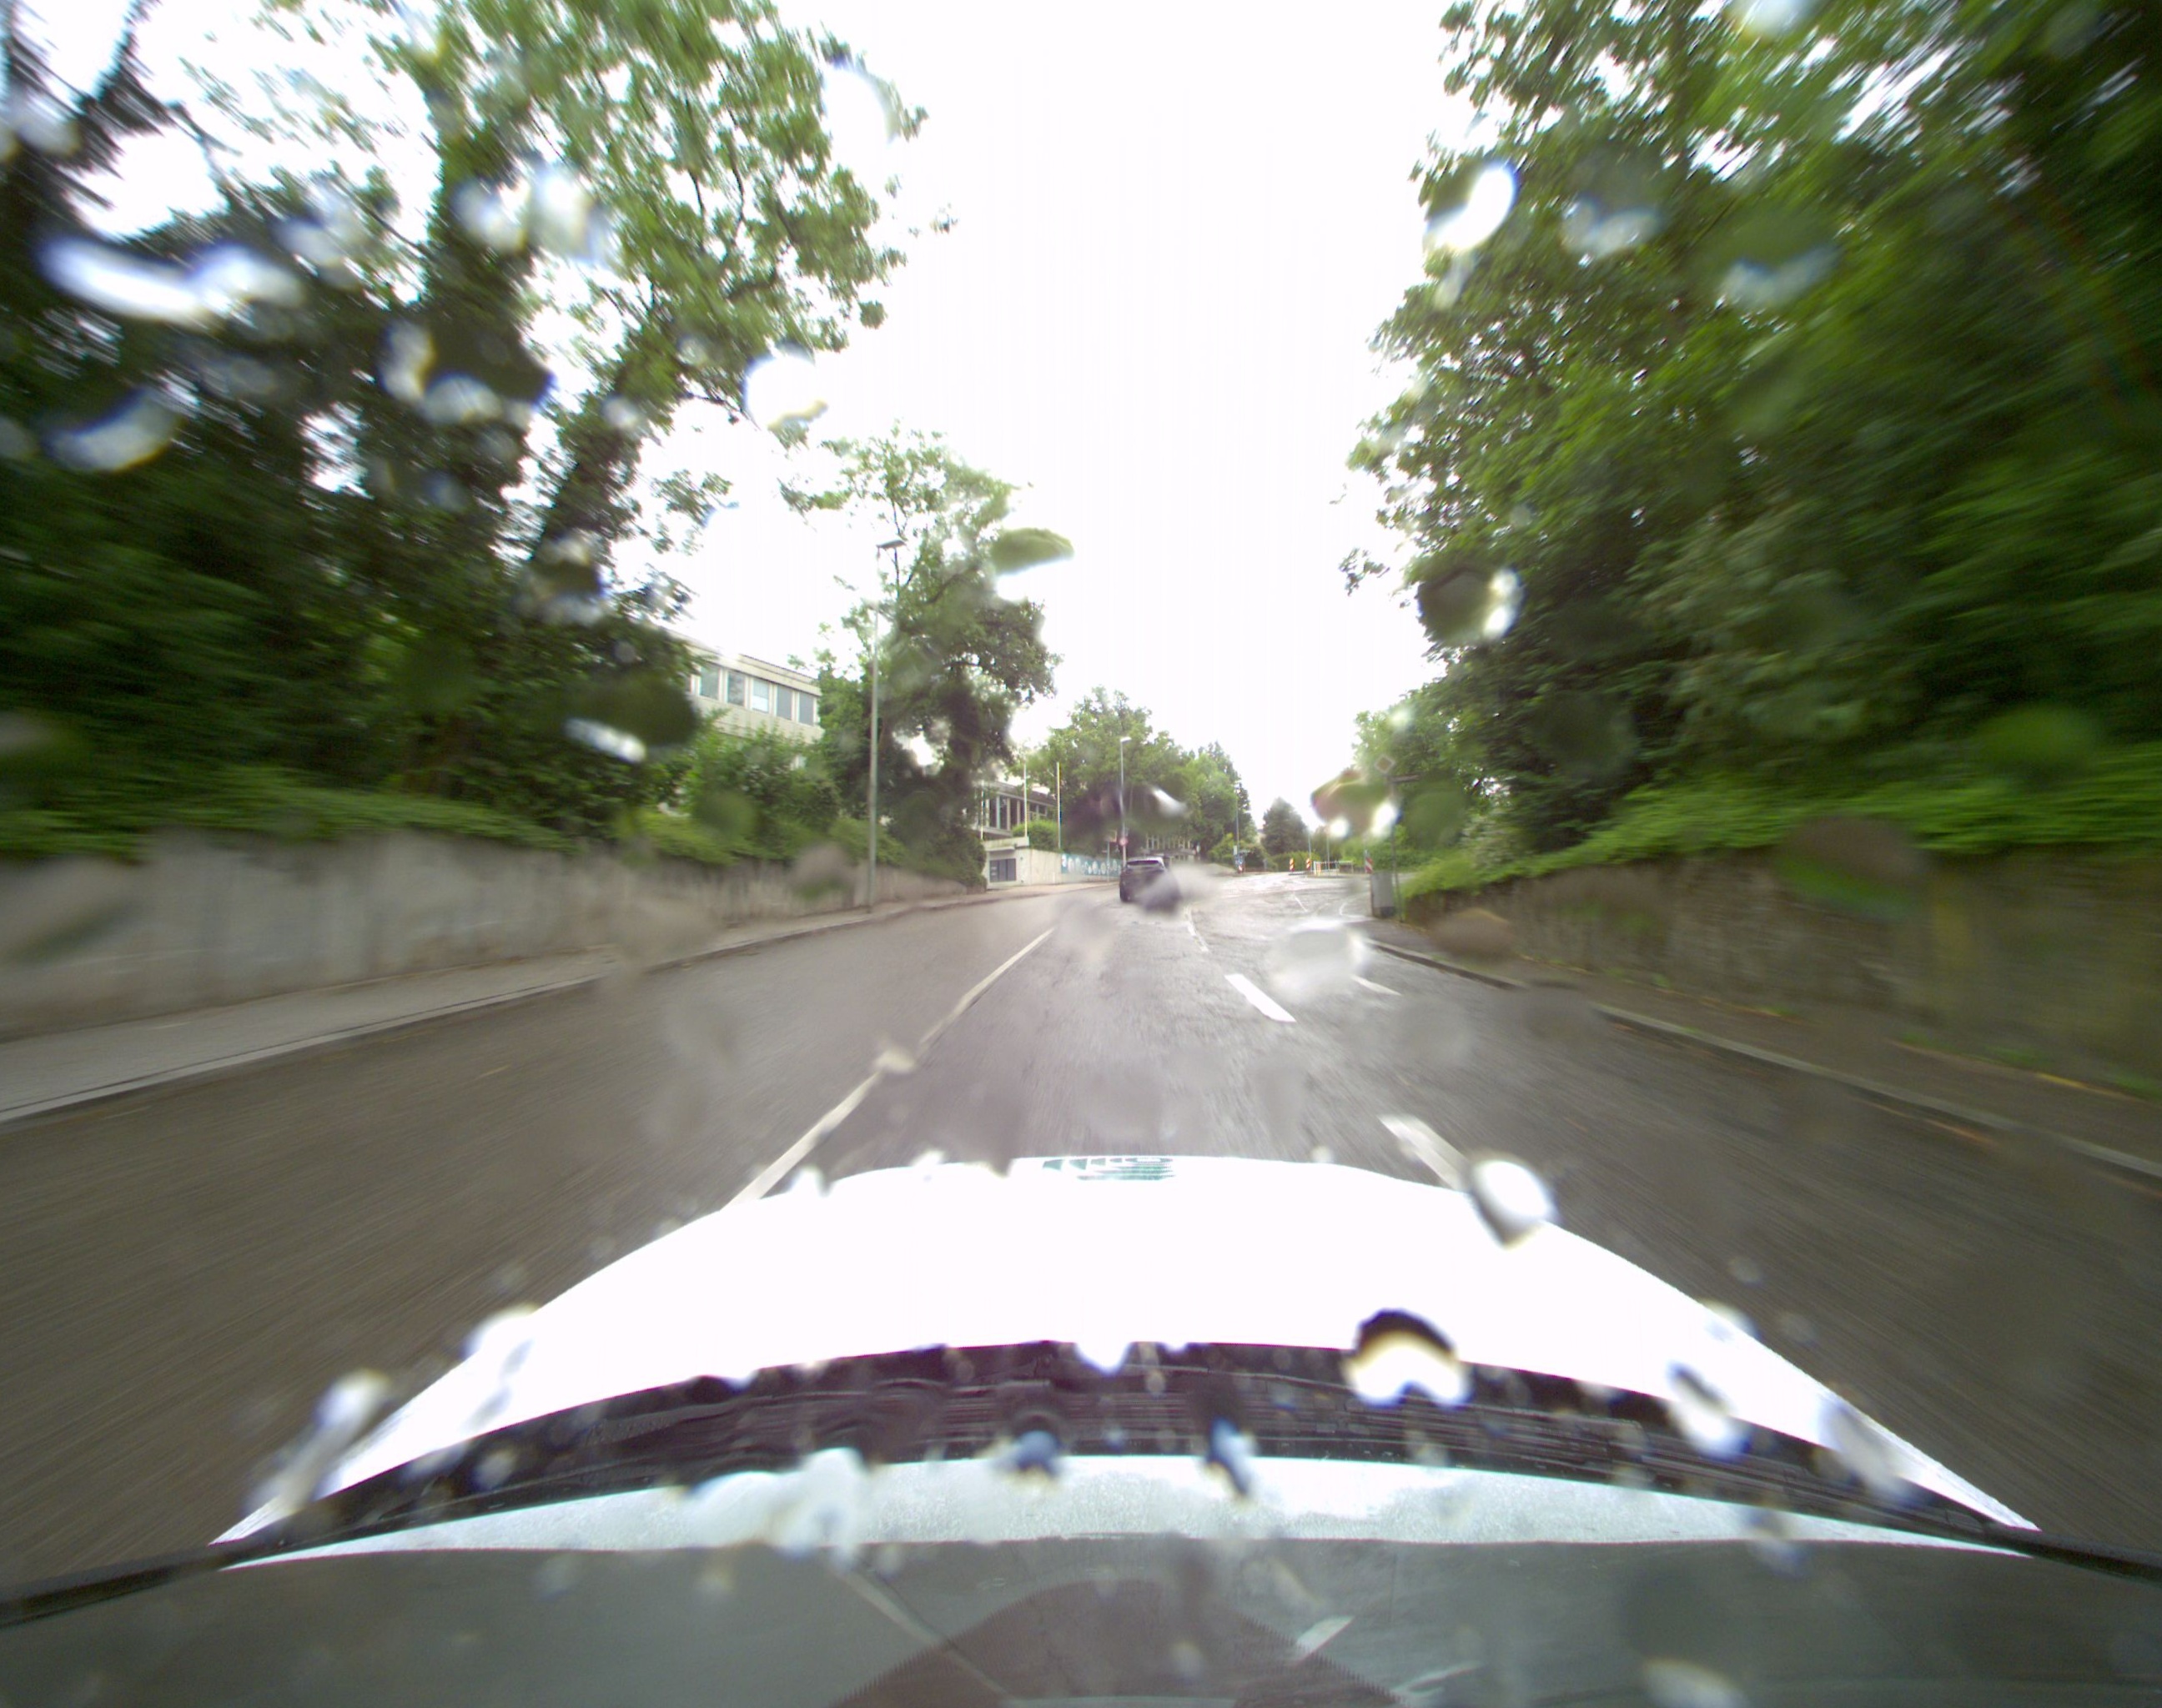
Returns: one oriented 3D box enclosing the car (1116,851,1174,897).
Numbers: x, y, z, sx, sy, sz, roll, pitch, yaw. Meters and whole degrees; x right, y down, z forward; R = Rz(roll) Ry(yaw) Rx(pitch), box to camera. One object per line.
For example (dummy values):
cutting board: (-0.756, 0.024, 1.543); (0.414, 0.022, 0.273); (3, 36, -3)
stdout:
car: (2.513, 0.732, 31.041); (1.917, 1.613, 4.009); (-1, 0, 8)
